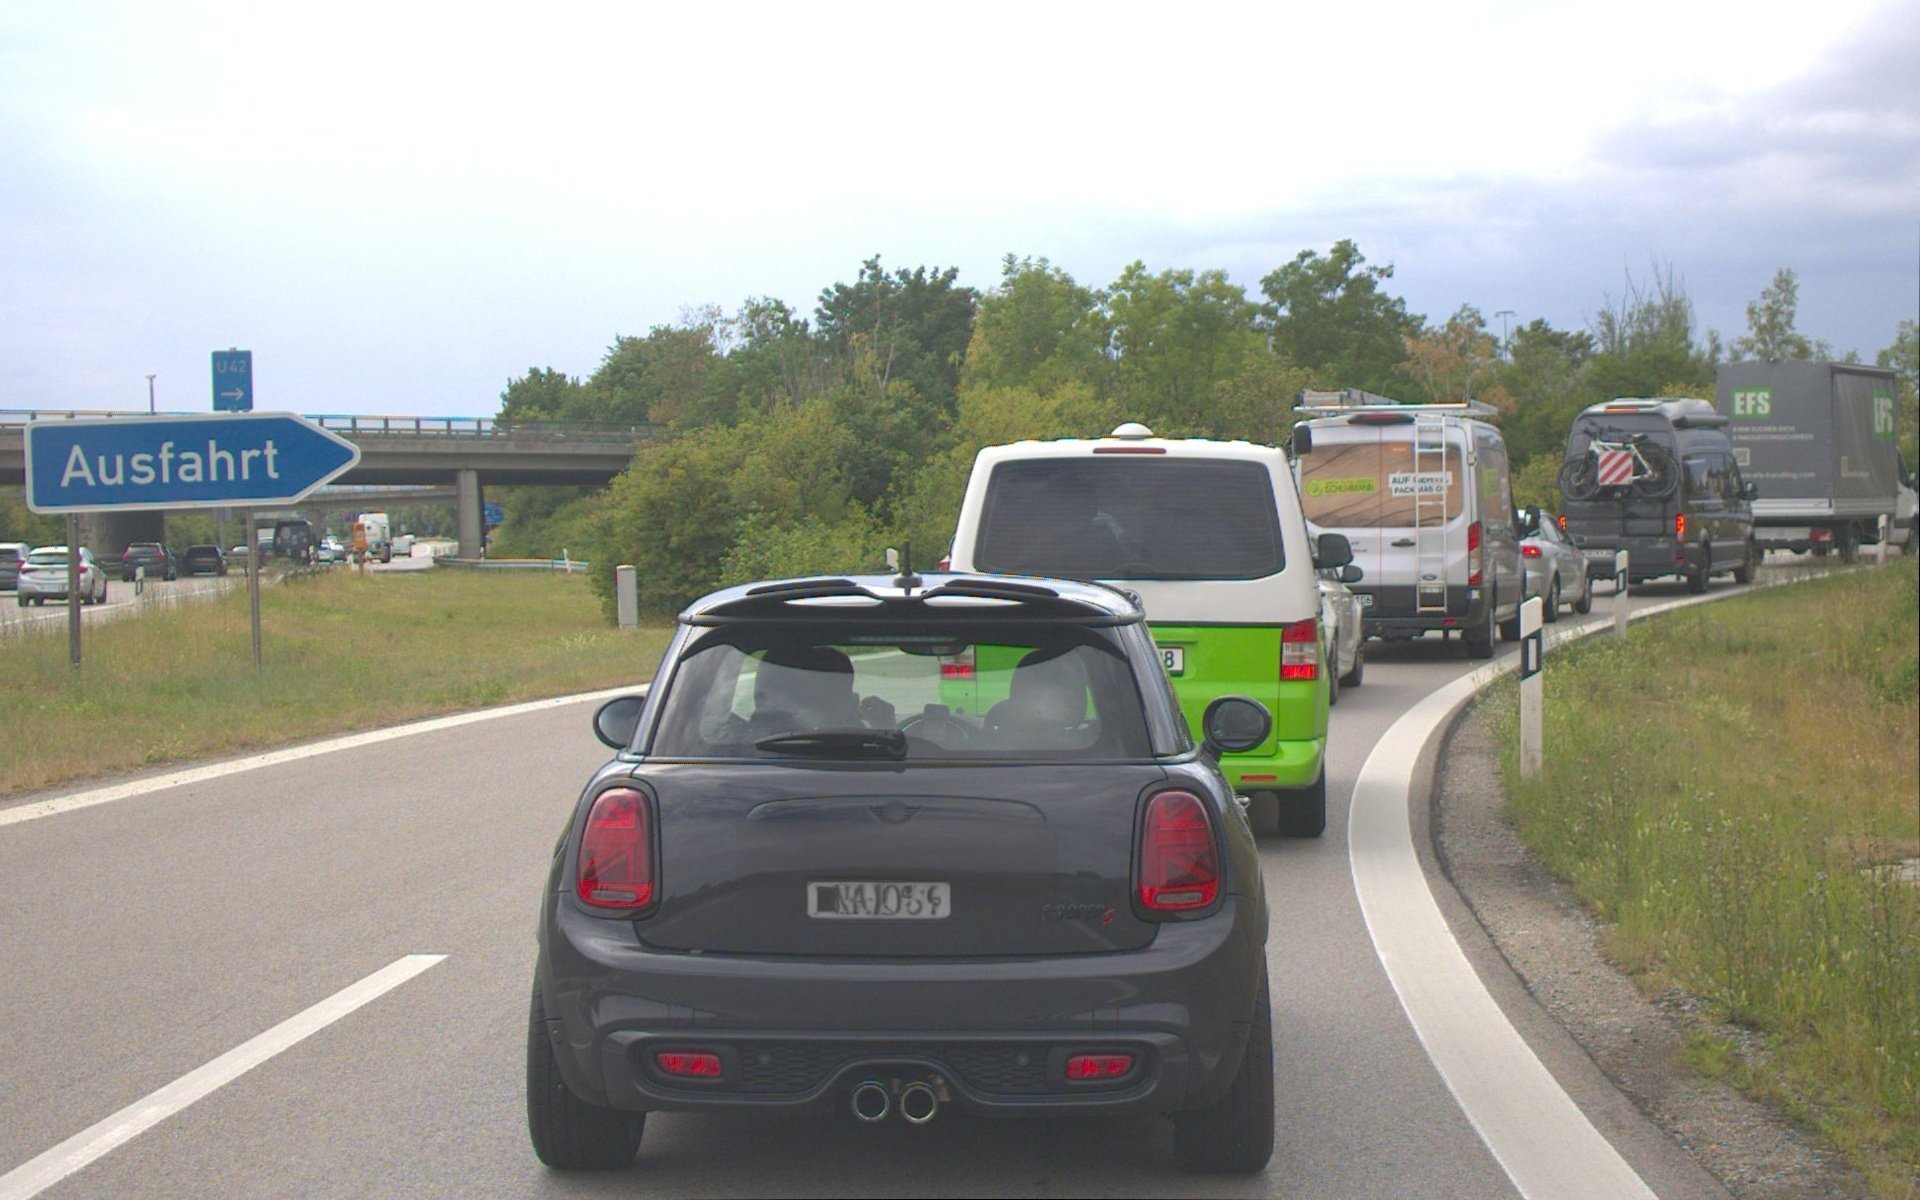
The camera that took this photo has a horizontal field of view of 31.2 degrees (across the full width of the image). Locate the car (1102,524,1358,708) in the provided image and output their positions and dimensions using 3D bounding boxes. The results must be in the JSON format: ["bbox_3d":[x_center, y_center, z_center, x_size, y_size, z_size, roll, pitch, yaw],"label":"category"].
[{"bbox_3d":[2.277,0.088,28.193,1.763,1.394,3.724,-1,1,10],"label":"car"}]

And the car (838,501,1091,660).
[{"bbox_3d":[0.112,-0.205,35.723,1.797,1.550,3.959,0,0,13],"label":"car"}]

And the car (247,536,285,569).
[{"bbox_3d":[-42.900,-2.933,212.592,2.068,2.007,4.001,1,0,-9],"label":"car"}]

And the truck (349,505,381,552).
[{"bbox_3d":[-44.838,-5.355,259.225,2.145,3.495,4.001,1,0,-7],"label":"truck"}]

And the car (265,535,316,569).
[{"bbox_3d":[-33.737,-2.436,173.375,2.095,1.665,4.307,-1,1,-6],"label":"car"}]

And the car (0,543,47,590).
[{"bbox_3d":[-28.760,-1.018,103.932,1.779,1.394,4.307,-1,1,-9],"label":"car"}]

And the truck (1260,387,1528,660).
[{"bbox_3d":[4.653,-0.834,36.172,2.180,2.649,5.106,0,2,14],"label":"truck"}]

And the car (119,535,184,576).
[{"bbox_3d":[-34.060,-1.897,144.924,2.095,1.665,4.307,-1,1,-6],"label":"car"}]

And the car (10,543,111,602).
[{"bbox_3d":[-22.202,-0.691,84.942,1.779,1.394,4.030,-1,1,-6],"label":"car"}]

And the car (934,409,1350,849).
[{"bbox_3d":[1.053,0.086,17.799,1.785,2.007,3.999,0,1,8],"label":"car"}]

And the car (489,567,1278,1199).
[{"bbox_3d":[-0.150,0.634,9.392,1.727,1.409,3.725,0,1,1],"label":"car"}]

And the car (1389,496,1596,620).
[{"bbox_3d":[6.853,-0.551,43.956,1.868,1.504,3.996,0,1,20],"label":"car"}]

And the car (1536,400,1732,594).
[{"bbox_3d":[10.182,-1.551,51.740,2.107,2.786,3.995,1,2,23],"label":"car"}]

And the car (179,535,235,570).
[{"bbox_3d":[-37.281,-2.369,170.303,2.159,1.665,4.307,-1,1,-6],"label":"car"}]

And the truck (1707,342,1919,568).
[{"bbox_3d":[15.769,-2.572,63.184,2.232,3.893,6.006,1,0,30],"label":"truck"}]
